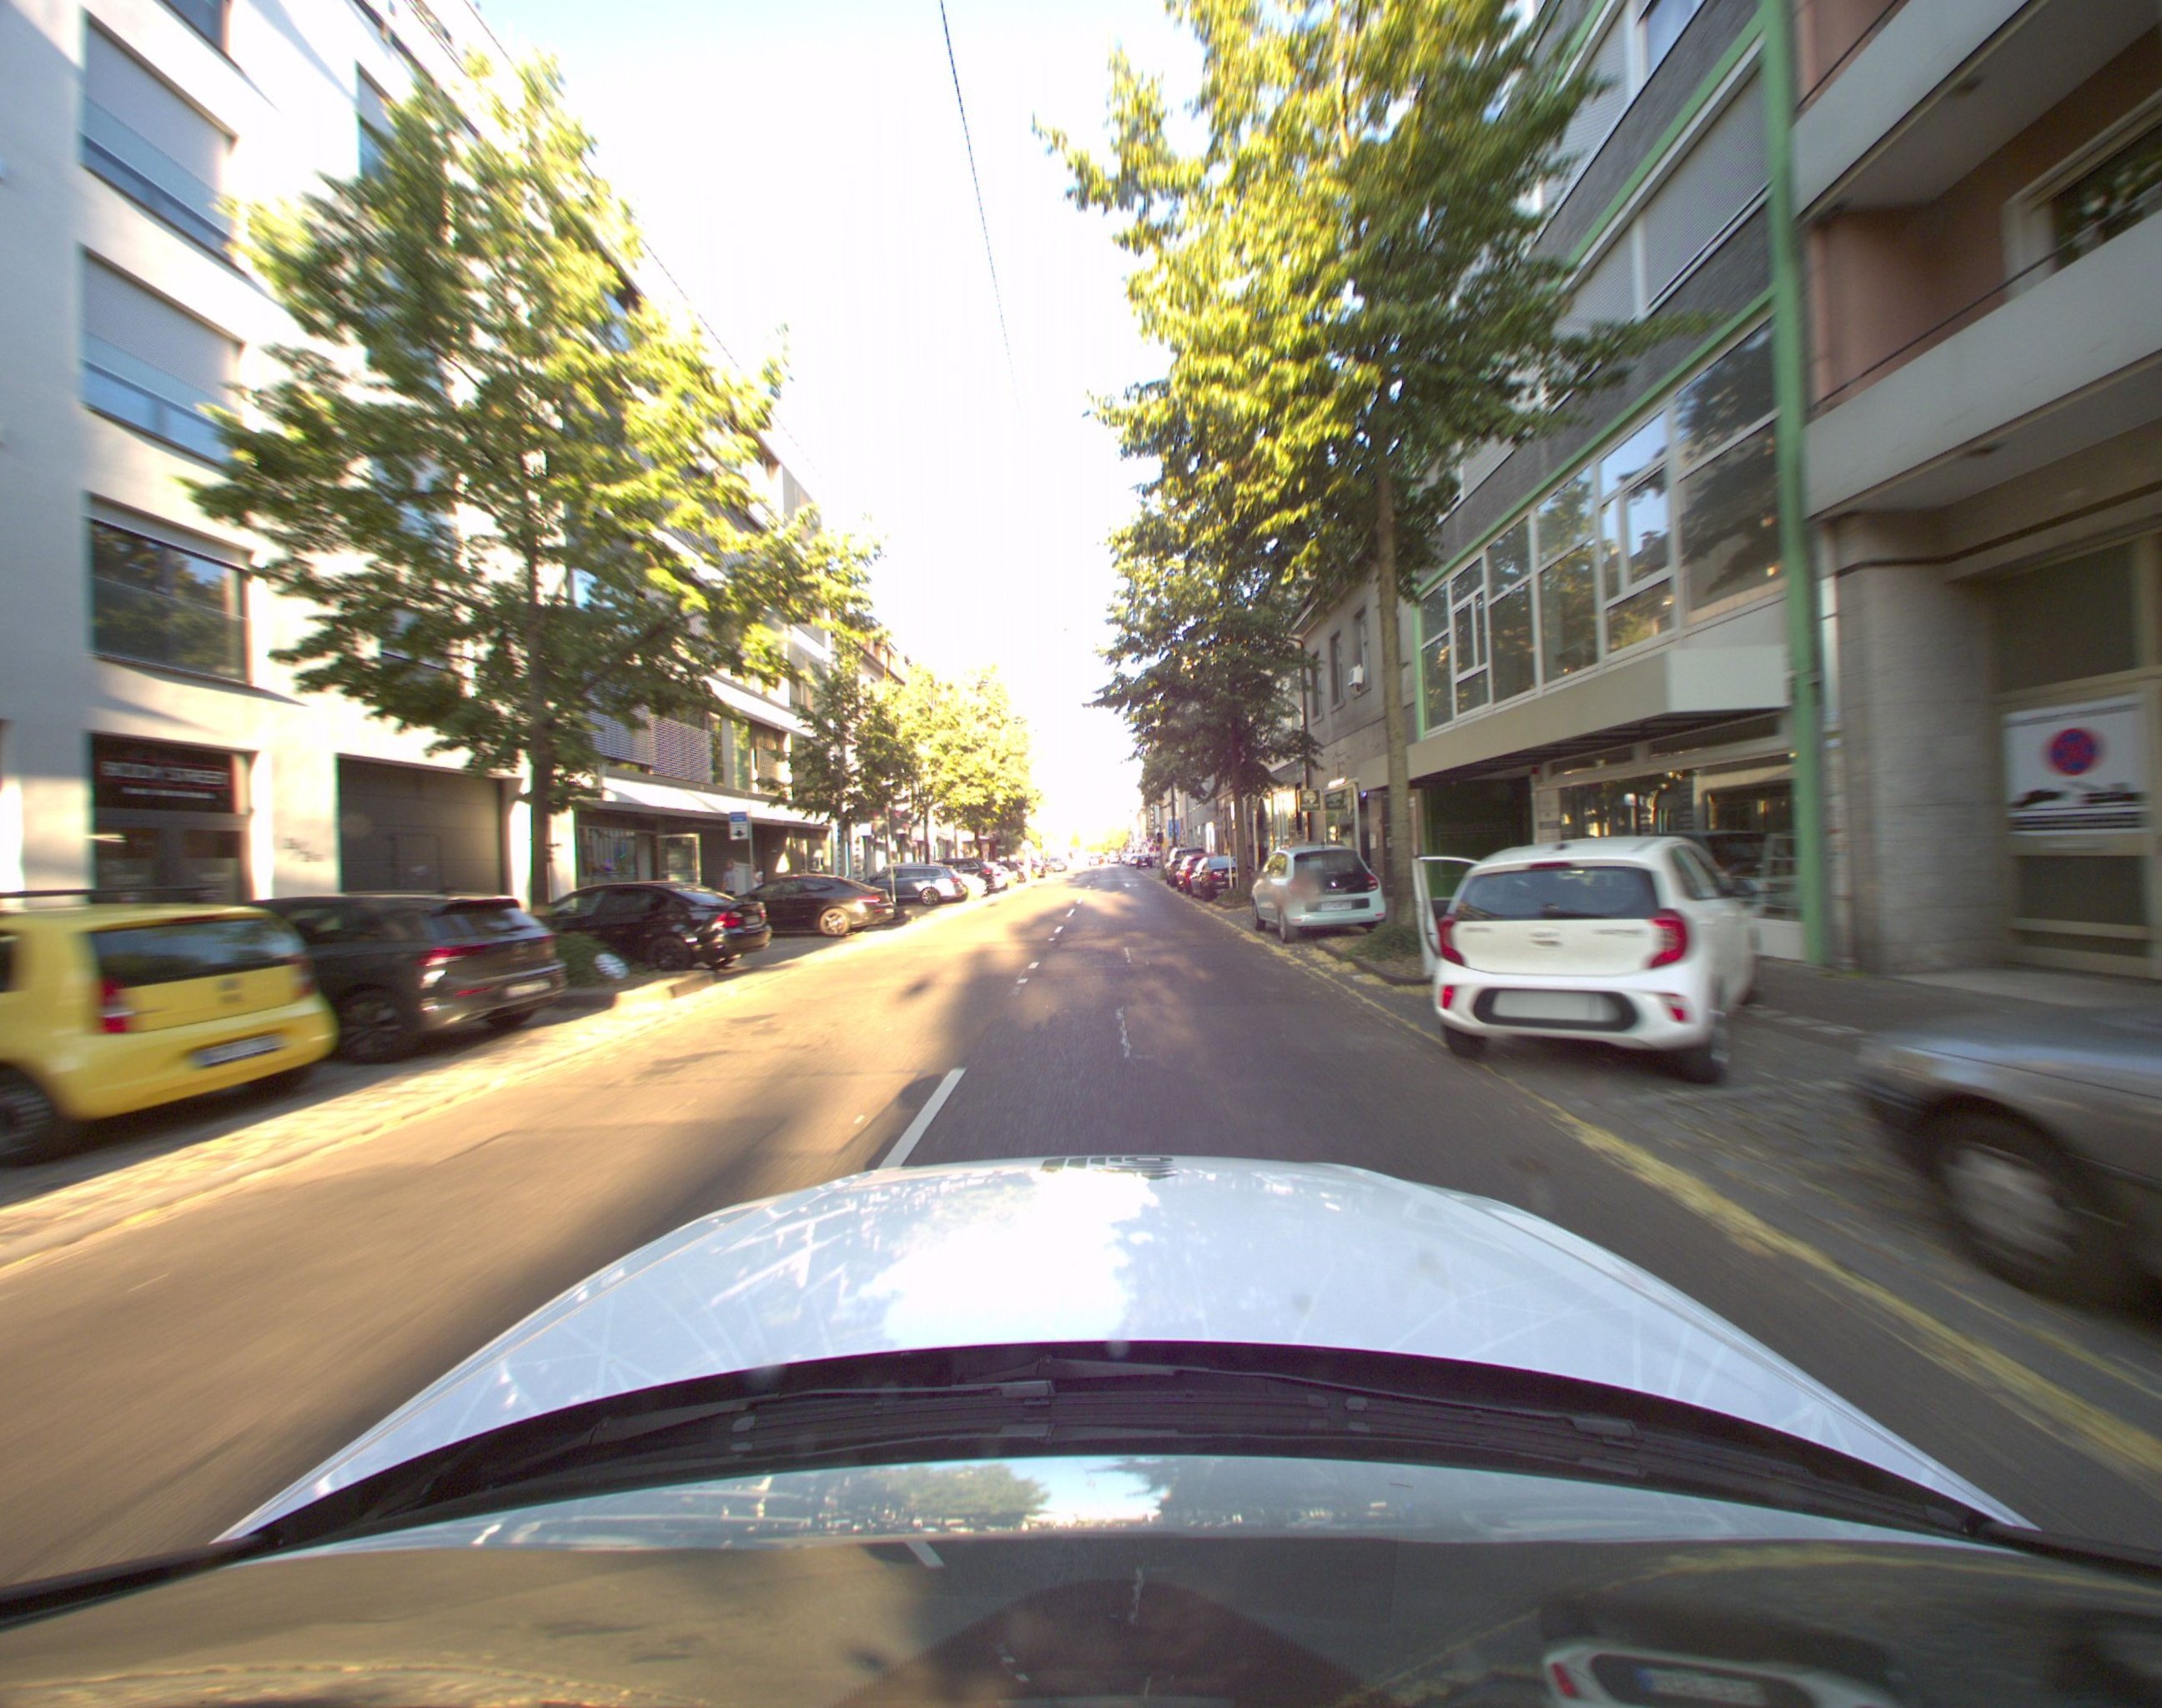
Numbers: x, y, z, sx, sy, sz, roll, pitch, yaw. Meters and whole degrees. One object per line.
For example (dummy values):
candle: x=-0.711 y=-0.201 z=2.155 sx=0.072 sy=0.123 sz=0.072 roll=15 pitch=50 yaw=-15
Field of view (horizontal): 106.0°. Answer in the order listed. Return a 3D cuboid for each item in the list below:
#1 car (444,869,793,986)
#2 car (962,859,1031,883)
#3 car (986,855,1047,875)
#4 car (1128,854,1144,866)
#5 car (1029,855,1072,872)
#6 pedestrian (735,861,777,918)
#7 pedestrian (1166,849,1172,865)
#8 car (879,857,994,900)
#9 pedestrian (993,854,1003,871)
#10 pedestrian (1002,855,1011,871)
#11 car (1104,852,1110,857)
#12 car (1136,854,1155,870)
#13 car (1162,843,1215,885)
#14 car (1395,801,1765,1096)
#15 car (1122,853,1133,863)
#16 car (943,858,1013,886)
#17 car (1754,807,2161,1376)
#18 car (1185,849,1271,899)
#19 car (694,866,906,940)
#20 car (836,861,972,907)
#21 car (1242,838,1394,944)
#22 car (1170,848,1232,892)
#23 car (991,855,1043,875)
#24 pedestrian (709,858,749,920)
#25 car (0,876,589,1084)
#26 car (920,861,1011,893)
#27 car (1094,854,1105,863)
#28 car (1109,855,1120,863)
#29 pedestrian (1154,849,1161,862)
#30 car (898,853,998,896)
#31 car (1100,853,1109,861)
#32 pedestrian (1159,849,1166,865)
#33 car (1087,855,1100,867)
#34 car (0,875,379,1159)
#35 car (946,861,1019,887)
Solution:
car: x=-6.874 y=1.056 z=12.444 sx=4.261 sy=1.484 sz=1.744 roll=-2 pitch=0 yaw=-1
car: x=-5.291 y=1.049 z=51.295 sx=4.094 sy=1.403 sz=1.883 roll=-1 pitch=0 yaw=-1
car: x=-5.043 y=0.860 z=63.784 sx=4.555 sy=1.407 sz=1.821 roll=-1 pitch=0 yaw=0
car: x=7.115 y=0.787 z=104.925 sx=1.753 sy=1.536 sz=4.820 roll=0 pitch=-1 yaw=0
car: x=-3.358 y=1.061 z=88.518 sx=4.402 sy=1.692 sz=1.879 roll=-2 pitch=1 yaw=36
pedestrian: x=-9.303 y=0.999 z=23.371 sx=0.716 sy=1.602 sz=1.095 roll=0 pitch=0 yaw=2
pedestrian: x=9.477 y=0.319 z=87.607 sx=0.602 sy=1.599 sz=0.774 roll=-2 pitch=0 yaw=1
car: x=-6.006 y=1.006 z=34.230 sx=4.391 sy=1.596 sz=1.890 roll=-1 pitch=0 yaw=0
pedestrian: x=-7.990 y=0.838 z=78.613 sx=0.769 sy=1.608 sz=0.876 roll=-1 pitch=-2 yaw=2
pedestrian: x=-7.240 y=0.838 z=78.770 sx=0.731 sy=1.528 sz=0.876 roll=-1 pitch=-2 yaw=2
car: x=8.303 y=0.138 z=262.184 sx=1.773 sy=1.547 sz=4.001 roll=-2 pitch=0 yaw=1
car: x=6.803 y=0.805 z=86.138 sx=1.752 sy=1.536 sz=4.003 roll=-6 pitch=0 yaw=3
car: x=5.024 y=0.430 z=38.675 sx=2.030 sy=1.737 sz=4.715 roll=-5 pitch=0 yaw=3
car: x=4.093 y=0.493 z=6.404 sx=1.645 sy=1.584 sz=3.646 roll=-5 pitch=0 yaw=44
car: x=7.835 y=0.749 z=138.855 sx=1.723 sy=1.651 sz=4.286 roll=-1 pitch=0 yaw=2
car: x=-5.800 y=1.019 z=46.387 sx=3.727 sy=1.444 sz=1.805 roll=-1 pitch=0 yaw=-1
car: x=3.771 y=0.622 z=1.507 sx=1.817 sy=1.473 sz=3.995 roll=-6 pitch=0 yaw=4
car: x=4.792 y=0.624 z=27.206 sx=1.946 sy=1.390 sz=4.423 roll=-5 pitch=0 yaw=-1
car: x=-6.428 y=1.103 z=18.952 sx=4.258 sy=1.484 sz=1.745 roll=-2 pitch=0 yaw=2
car: x=-6.402 y=1.071 z=29.832 sx=4.536 sy=1.484 sz=1.743 roll=-2 pitch=0 yaw=-2
car: x=4.074 y=0.582 z=14.594 sx=1.685 sy=1.543 sz=3.554 roll=-4 pitch=0 yaw=2
car: x=4.629 y=0.594 z=31.913 sx=1.724 sy=1.487 sz=3.899 roll=-5 pitch=0 yaw=-1
car: x=-5.231 y=0.916 z=67.076 sx=4.057 sy=1.536 sz=1.885 roll=-1 pitch=0 yaw=1
pedestrian: x=-10.093 y=0.989 z=23.380 sx=0.716 sy=1.749 sz=0.934 roll=0 pitch=0 yaw=2
car: x=-7.169 y=1.081 z=7.742 sx=3.854 sy=1.567 sz=1.744 roll=-2 pitch=0 yaw=-1
car: x=-5.543 y=1.081 z=39.448 sx=4.136 sy=1.421 sz=1.766 roll=-1 pitch=0 yaw=-1
car: x=3.351 y=0.792 z=146.904 sx=1.890 sy=1.649 sz=4.105 roll=-2 pitch=0 yaw=1
car: x=6.318 y=0.914 z=153.230 sx=1.890 sy=1.581 sz=4.001 roll=-1 pitch=0 yaw=1
pedestrian: x=10.051 y=0.216 z=107.363 sx=0.770 sy=1.711 sz=1.042 roll=-4 pitch=0 yaw=1
car: x=-5.904 y=0.889 z=36.556 sx=4.136 sy=1.773 sz=1.889 roll=-1 pitch=0 yaw=-1
car: x=4.803 y=0.620 z=166.242 sx=1.890 sy=1.581 sz=3.853 roll=-2 pitch=0 yaw=1
pedestrian: x=8.793 y=0.318 z=87.609 sx=0.602 sy=1.599 sz=0.774 roll=-2 pitch=0 yaw=1
car: x=1.995 y=1.097 z=125.485 sx=1.890 sy=1.649 sz=4.105 roll=-2 pitch=0 yaw=1
car: x=-7.496 y=1.013 z=5.533 sx=3.854 sy=1.567 sz=1.744 roll=-2 pitch=0 yaw=-1
car: x=-5.897 y=1.177 z=49.136 sx=4.080 sy=1.403 sz=1.845 roll=-2 pitch=0 yaw=3
